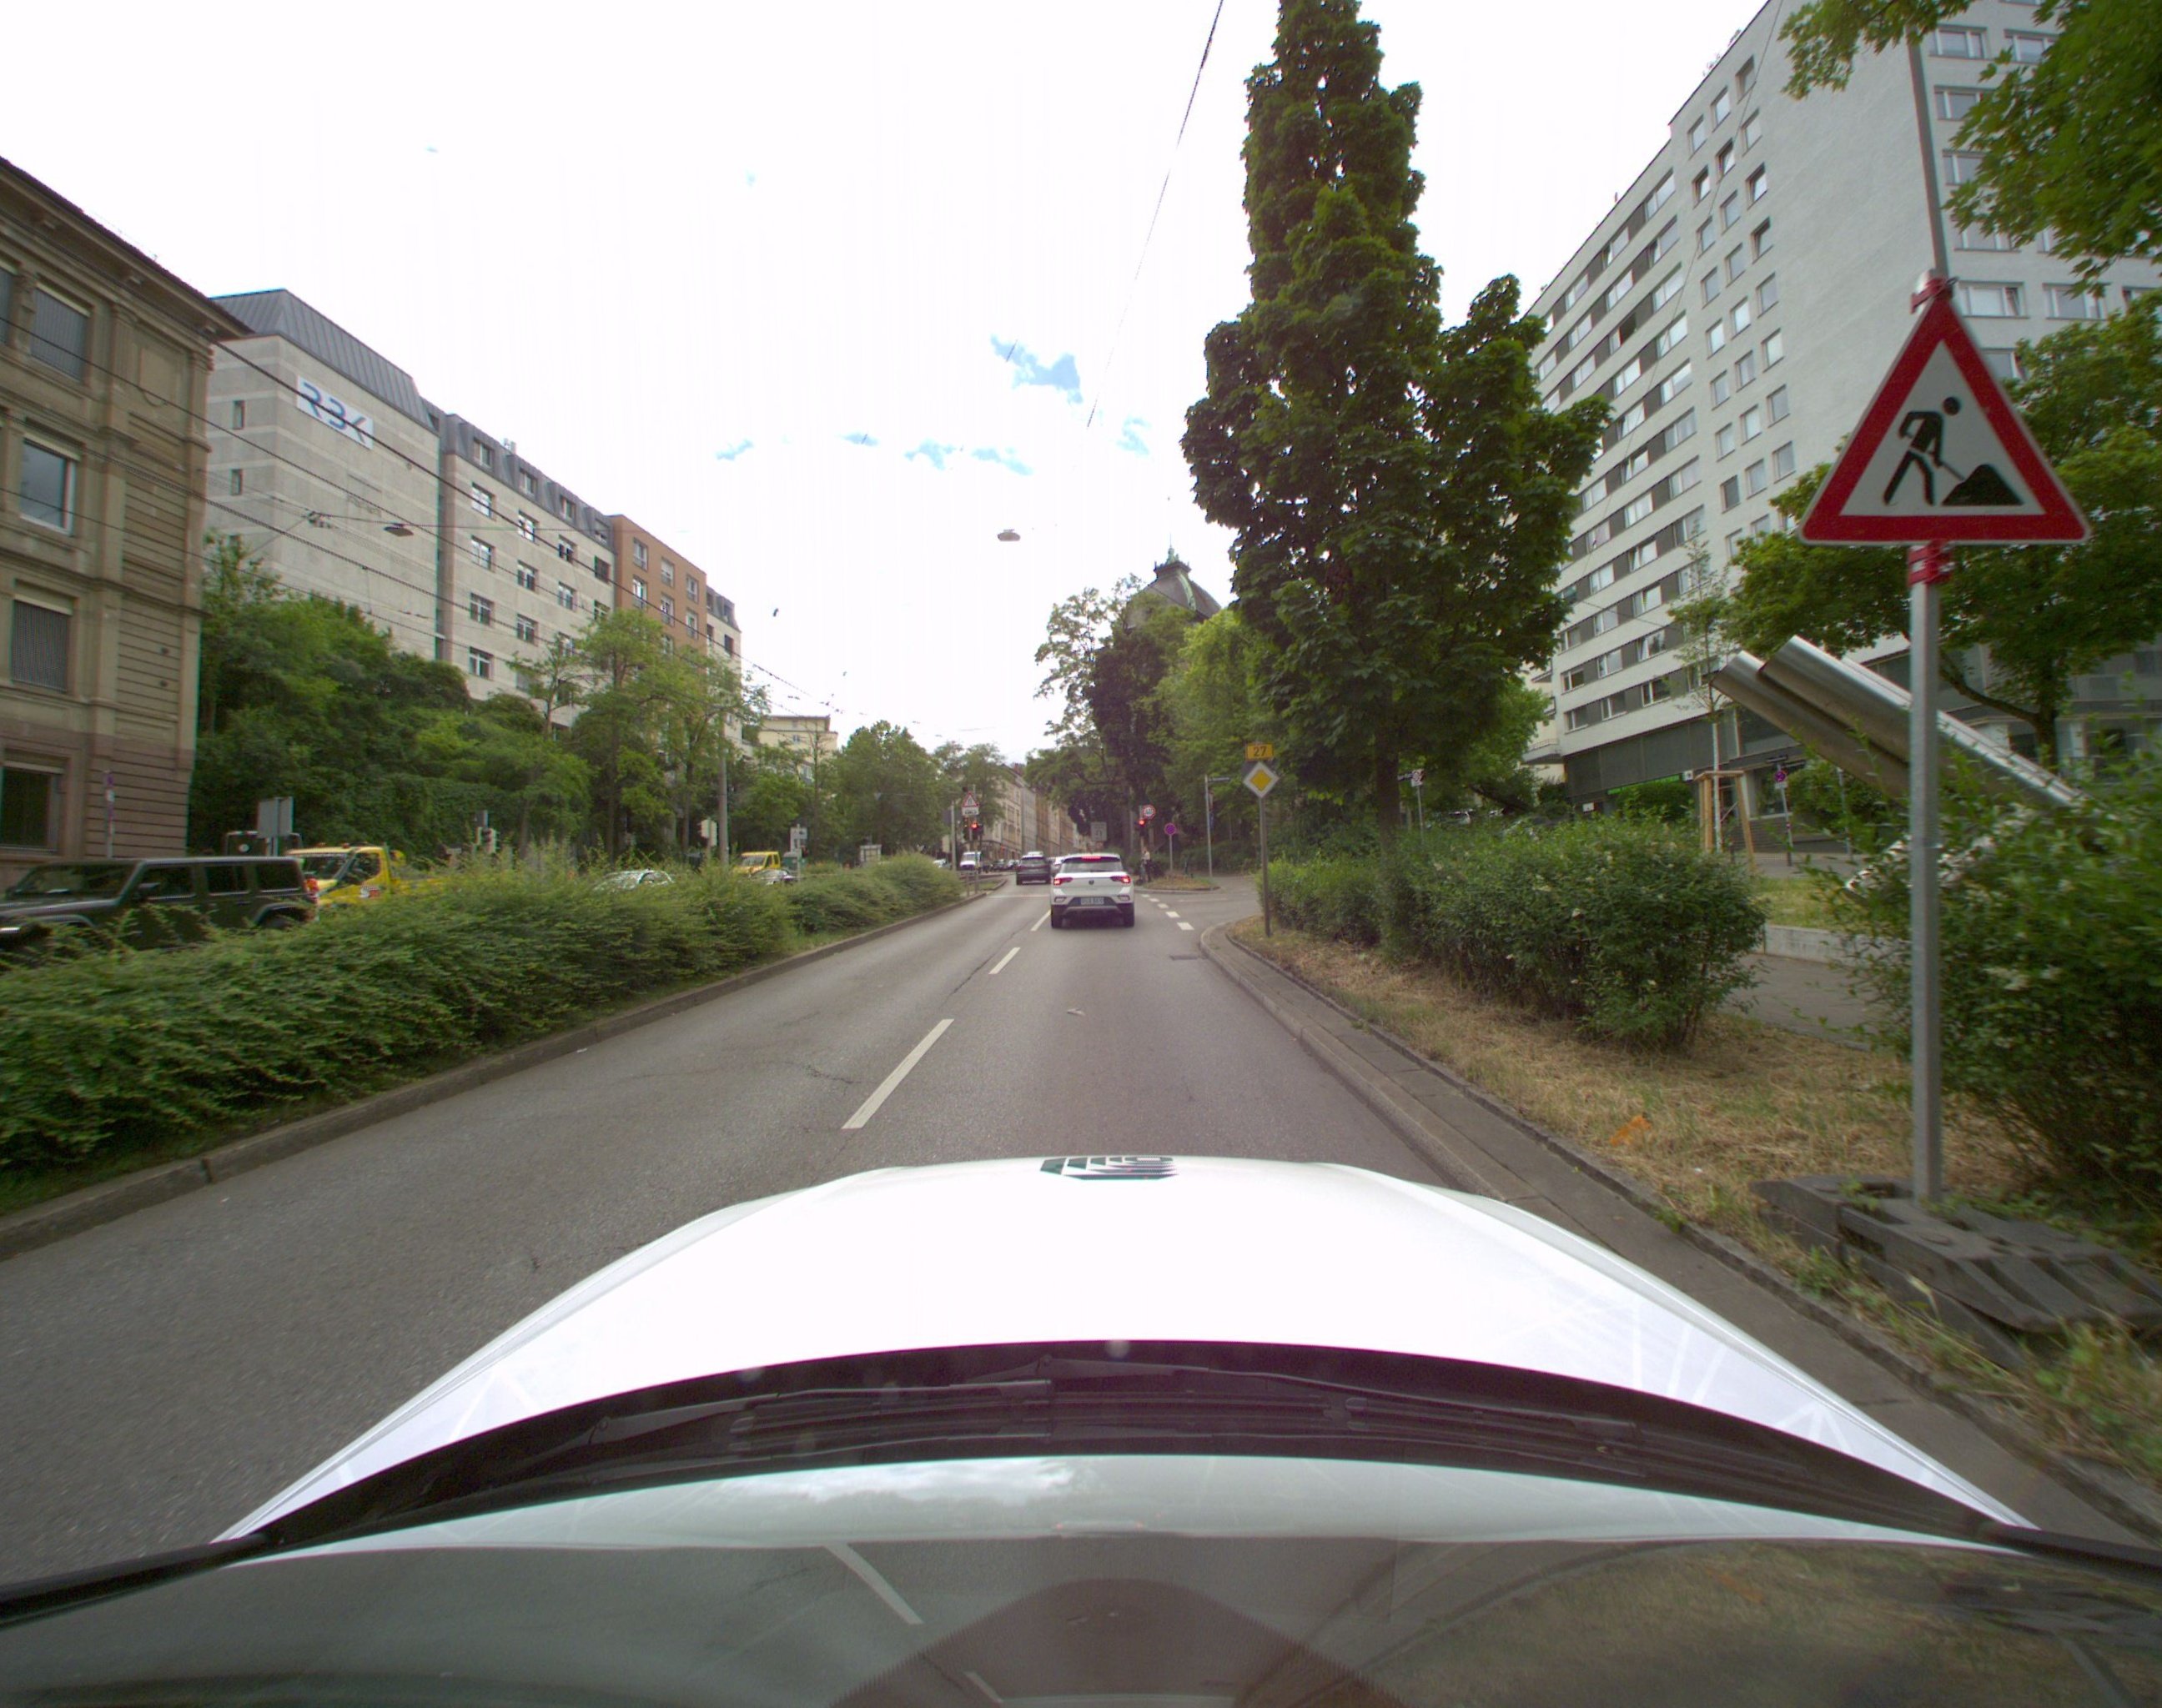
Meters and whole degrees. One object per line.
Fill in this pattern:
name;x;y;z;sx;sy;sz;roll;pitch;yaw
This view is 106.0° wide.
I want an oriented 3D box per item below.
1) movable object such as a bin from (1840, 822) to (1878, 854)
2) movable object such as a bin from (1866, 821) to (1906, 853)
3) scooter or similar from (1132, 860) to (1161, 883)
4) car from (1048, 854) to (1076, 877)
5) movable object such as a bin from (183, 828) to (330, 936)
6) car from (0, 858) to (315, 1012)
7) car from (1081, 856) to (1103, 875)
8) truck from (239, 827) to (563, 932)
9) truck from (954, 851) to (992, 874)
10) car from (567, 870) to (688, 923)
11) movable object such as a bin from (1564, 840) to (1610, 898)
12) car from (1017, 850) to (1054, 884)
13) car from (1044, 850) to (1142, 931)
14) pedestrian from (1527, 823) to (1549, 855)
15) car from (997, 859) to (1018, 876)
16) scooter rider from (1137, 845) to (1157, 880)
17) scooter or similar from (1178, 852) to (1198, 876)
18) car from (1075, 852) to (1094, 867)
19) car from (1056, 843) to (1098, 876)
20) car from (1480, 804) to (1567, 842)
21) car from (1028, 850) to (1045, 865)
movable object such as a bin;28.200;-0.581;29.523;0.825;1.103;0.708;-2;-1;-22
movable object such as a bin;28.561;-0.597;28.893;0.825;1.103;0.708;-2;-1;-22
scooter or similar;2.944;0.791;36.765;1.184;0.994;0.531;-3;0;-2
car;-1.445;0.897;62.077;1.987;1.623;3.999;-3;-1;0
movable object such as a bin;-23.005;0.759;22.817;1.990;2.838;2.026;-2;-1;-4
car;-14.158;1.028;11.769;1.895;1.876;4.638;-1;-1;-2
car;1.397;1.429;103.642;2.411;2.169;6.039;-3;-1;4
truck;-18.532;0.765;23.051;2.906;2.510;7.154;0;-3;2
truck;-11.033;0.811;83.833;2.408;2.169;6.046;1;1;7
car;-14.981;1.349;27.176;1.735;1.487;4.065;-1;0;-1
movable object such as a bin;9.851;0.286;15.864;0.492;1.094;0.565;-3;-1;1
car;-2.557;0.710;46.509;1.833;1.739;3.999;-3;0;0
car;0.223;0.717;18.419;1.932;1.566;4.045;-1;0;-1
pedestrian;22.279;-0.728;39.671;0.560;1.500;0.672;-2;-1;-24
car;-8.980;1.700;99.992;1.986;2.014;4.001;1;-3;2
scooter rider;2.972;0.385;36.770;0.776;1.558;0.531;-3;-1;-3
scooter or similar;5.184;0.485;39.493;0.474;1.100;1.362;-3;-2;-13
car;0.513;0.863;123.659;2.411;2.169;6.039;-3;-1;4
car;-0.264;0.329;43.281;1.900;1.574;3.826;1;-3;-5
car;26.398;-1.809;48.679;4.124;2.013;1.996;-3;0;-6
car;-6.634;0.537;121.828;1.986;2.013;4.001;-3;0;2
